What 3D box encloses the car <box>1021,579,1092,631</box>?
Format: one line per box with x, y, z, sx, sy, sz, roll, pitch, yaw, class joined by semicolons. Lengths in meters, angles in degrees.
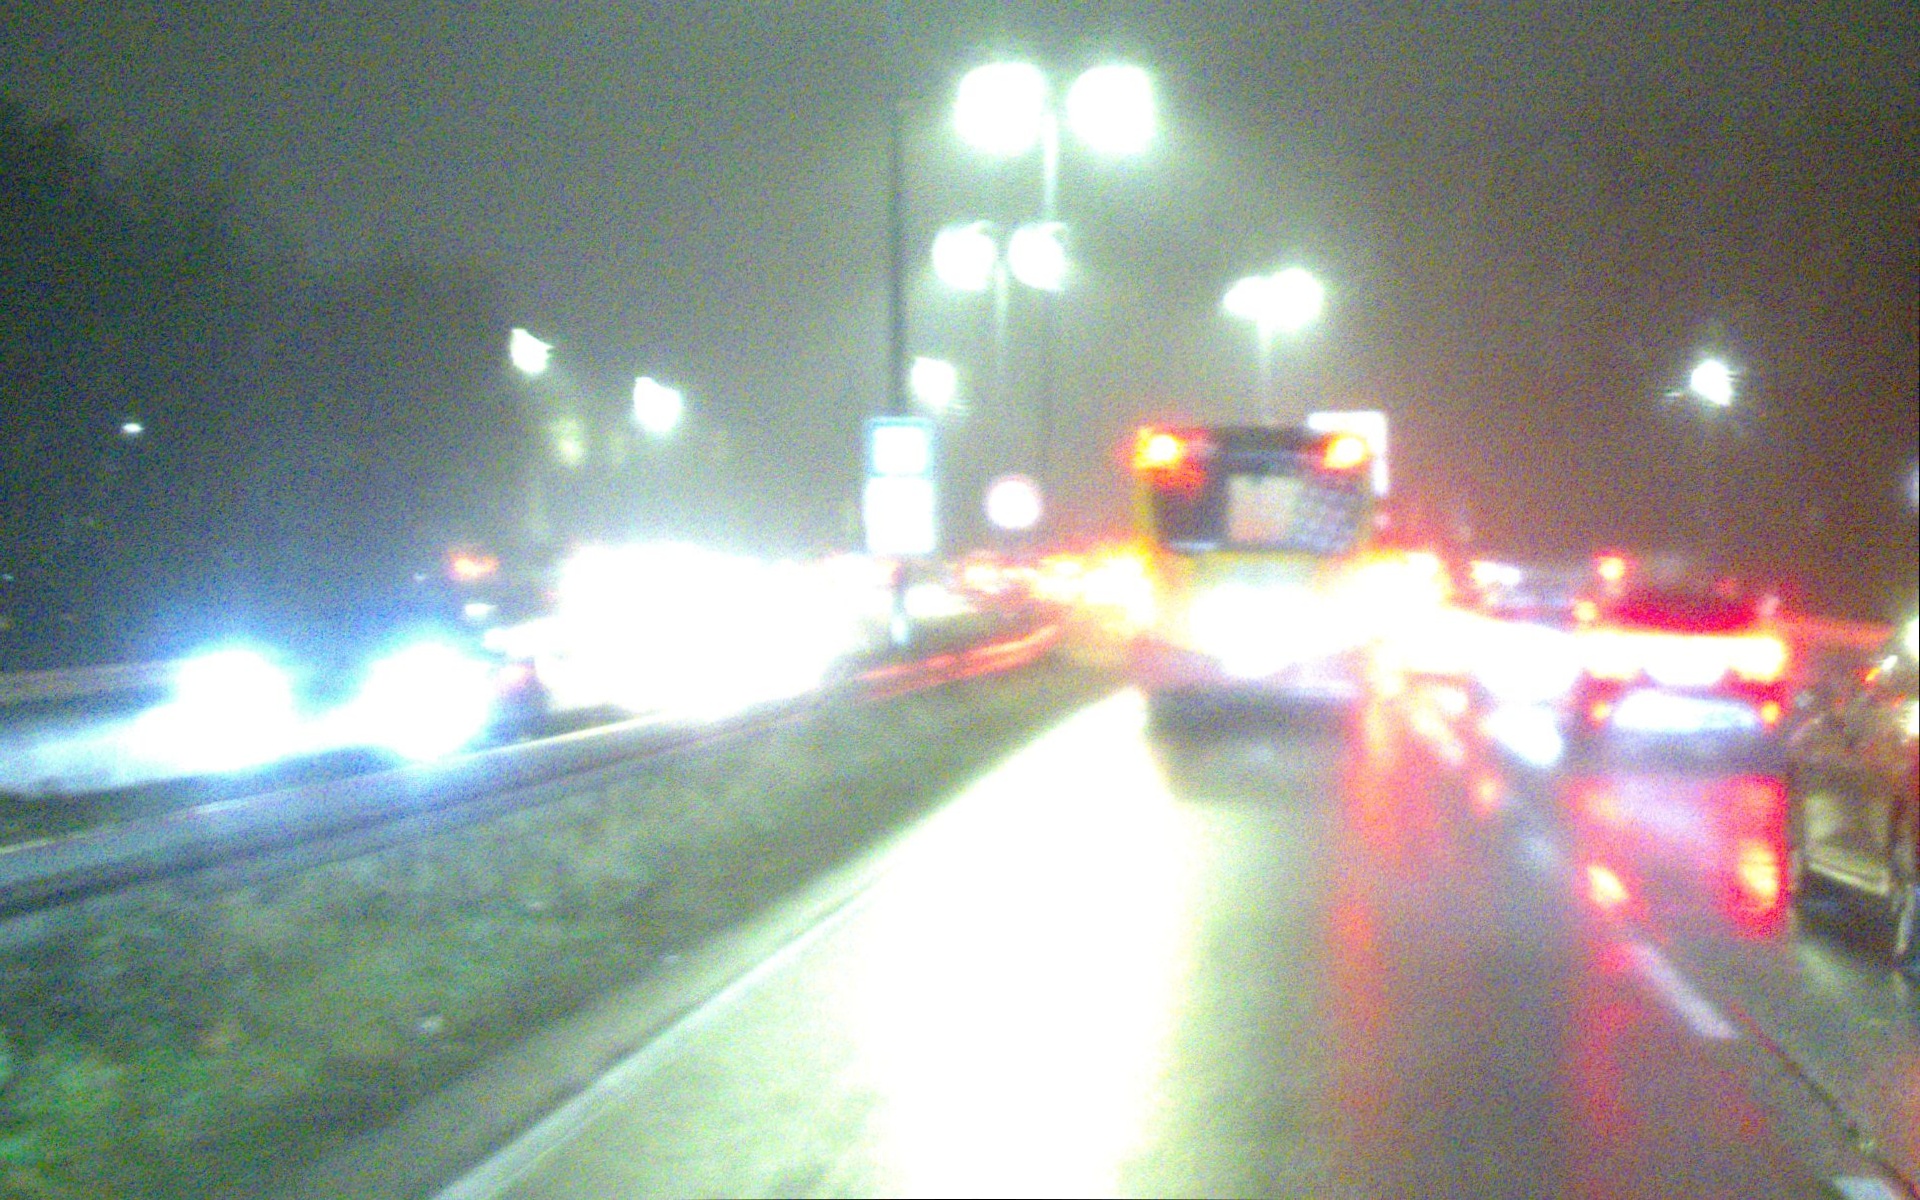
3.095;0.154;110.840;1.750;1.625;3.624;1;0;-6;car

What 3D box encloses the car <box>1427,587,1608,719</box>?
7.034;0.637;43.718;1.820;1.585;3.776;-1;0;2;car

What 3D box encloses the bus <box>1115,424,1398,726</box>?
3.273;-0.284;39.093;2.816;3.014;8.686;1;0;4;bus

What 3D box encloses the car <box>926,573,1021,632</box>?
0.451;0.075;120.108;2.210;2.007;4.001;0;0;-18;car

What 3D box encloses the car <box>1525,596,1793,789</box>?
6.168;0.773;30.720;1.739;1.559;3.776;1;0;2;car

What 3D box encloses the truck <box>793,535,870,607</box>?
-4.755;-1.081;126.632;1.855;2.385;4.781;-2;3;-14;truck

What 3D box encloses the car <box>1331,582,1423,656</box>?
9.133;0.397;75.498;1.780;1.538;3.874;1;0;4;car

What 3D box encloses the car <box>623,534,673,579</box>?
-14.521;-2.010;159.889;2.121;2.007;4.001;1;0;-7;car

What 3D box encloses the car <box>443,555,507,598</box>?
-23.372;-1.119;165.589;1.993;2.007;4.001;1;0;-24;car

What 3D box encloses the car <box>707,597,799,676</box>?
-4.481;0.764;74.957;1.620;1.645;4.000;-1;0;2;car

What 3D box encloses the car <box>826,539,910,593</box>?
-3.614;-1.327;133.782;1.993;2.007;4.001;1;0;-21;car

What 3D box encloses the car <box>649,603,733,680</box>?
-7.325;1.121;93.867;1.993;2.007;4.000;1;0;-1;car

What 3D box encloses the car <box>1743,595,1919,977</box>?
4.692;0.727;15.042;1.732;1.444;4.724;1;0;4;car

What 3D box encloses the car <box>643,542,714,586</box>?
-12.158;-1.554;148.092;1.993;1.680;4.002;2;1;-20;car

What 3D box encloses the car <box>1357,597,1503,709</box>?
7.044;0.772;51.832;1.820;1.585;3.776;-1;0;2;car

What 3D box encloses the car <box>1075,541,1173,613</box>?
4.785;-0.661;100.840;1.993;2.007;4.001;1;0;-10;car

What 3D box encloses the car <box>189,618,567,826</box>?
-4.571;0.914;27.755;1.856;1.471;4.778;0;0;5;car
